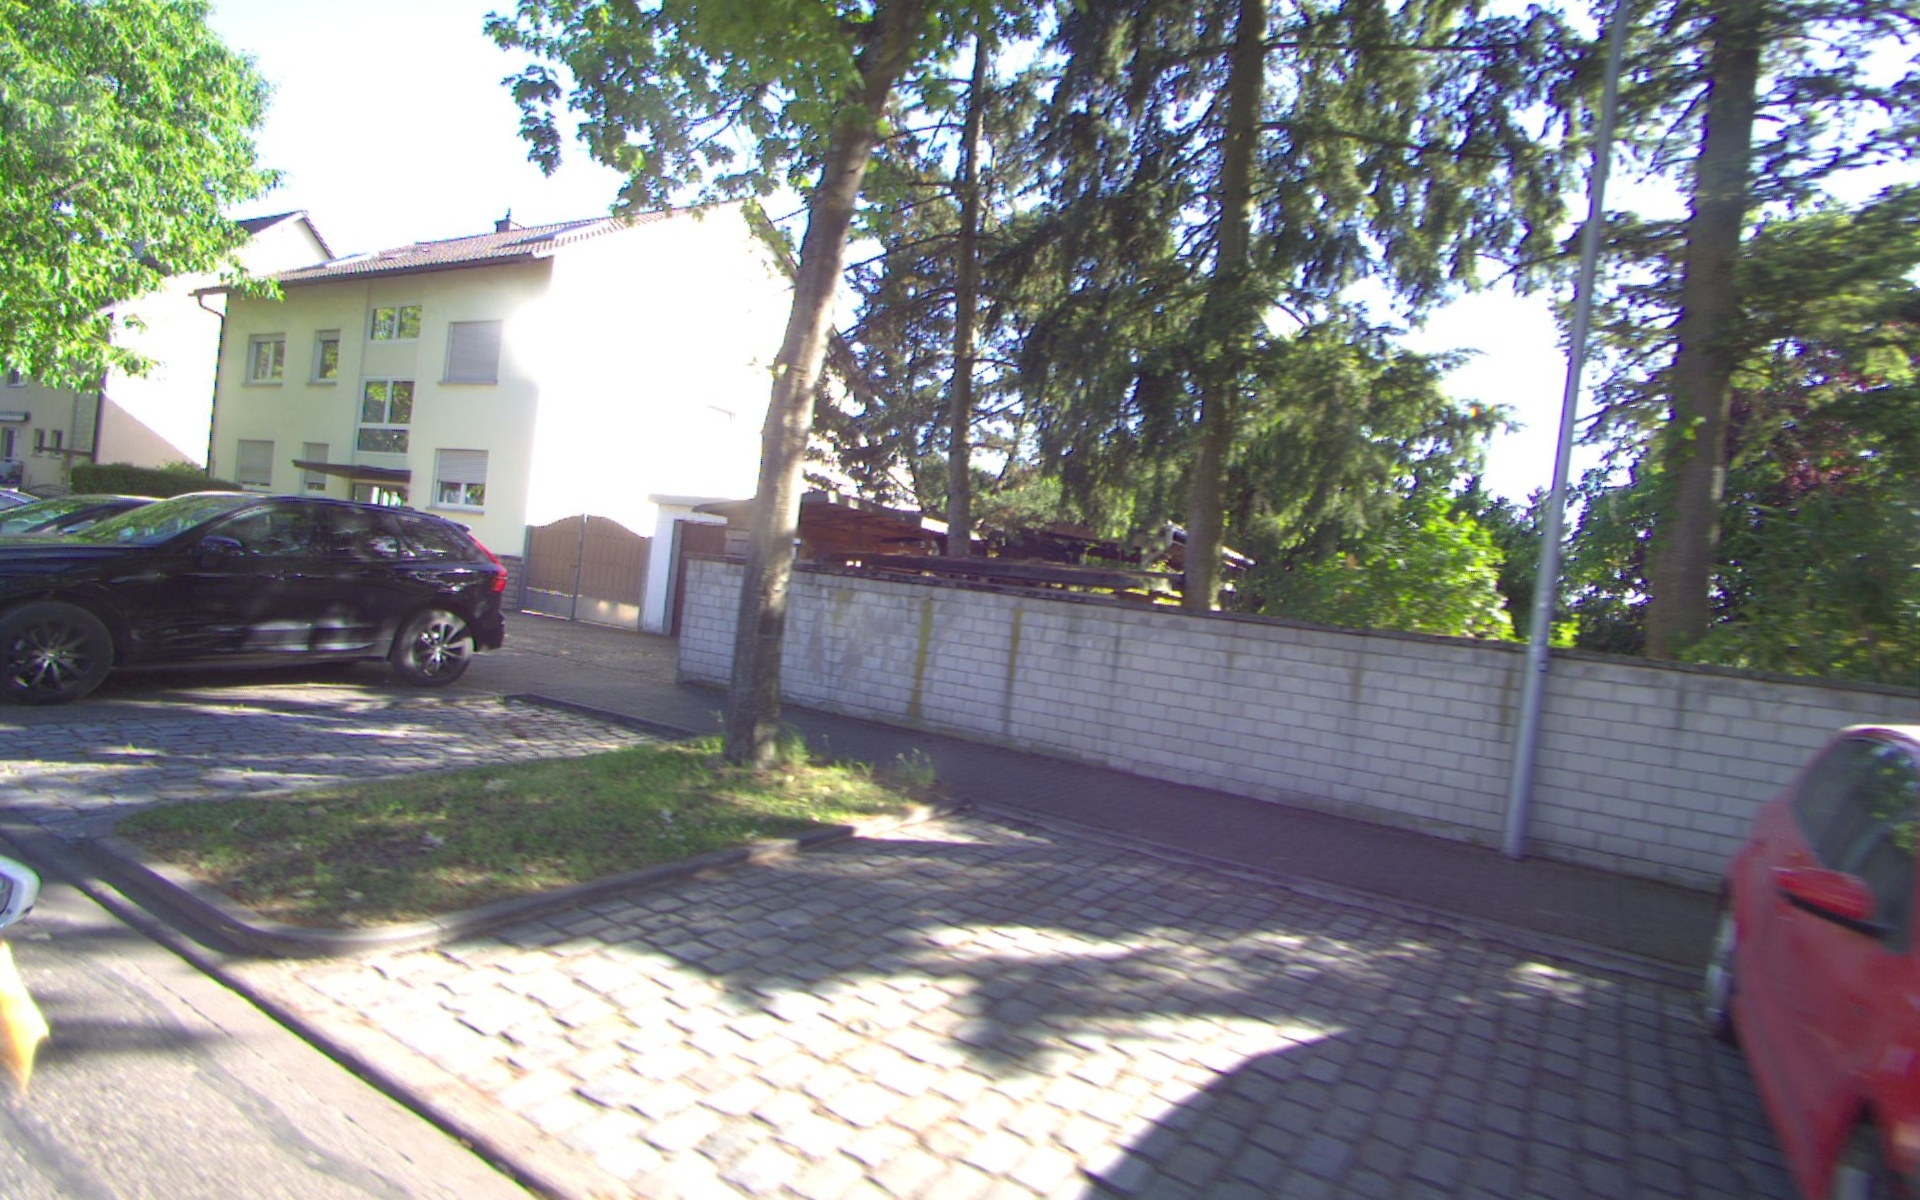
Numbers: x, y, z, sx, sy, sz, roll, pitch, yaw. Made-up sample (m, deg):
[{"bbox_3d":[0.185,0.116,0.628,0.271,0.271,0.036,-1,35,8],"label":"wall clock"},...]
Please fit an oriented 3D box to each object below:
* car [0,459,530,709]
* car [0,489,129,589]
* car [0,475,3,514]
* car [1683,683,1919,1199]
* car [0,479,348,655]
[{"bbox_3d":[-6.320,-0.130,8.633,1.807,1.668,4.577,7,2,30],"label":"car"},{"bbox_3d":[-14.764,-1.004,14.142,1.663,1.349,4.428,7,2,32],"label":"car"},{"bbox_3d":[-19.246,-1.651,16.788,1.836,1.580,4.342,7,1,29],"label":"car"},{"bbox_3d":[3.197,1.139,2.601,1.726,1.503,3.779,8,2,32],"label":"car"},{"bbox_3d":[-8.892,-0.348,10.065,1.809,1.549,4.323,7,2,30],"label":"car"}]
